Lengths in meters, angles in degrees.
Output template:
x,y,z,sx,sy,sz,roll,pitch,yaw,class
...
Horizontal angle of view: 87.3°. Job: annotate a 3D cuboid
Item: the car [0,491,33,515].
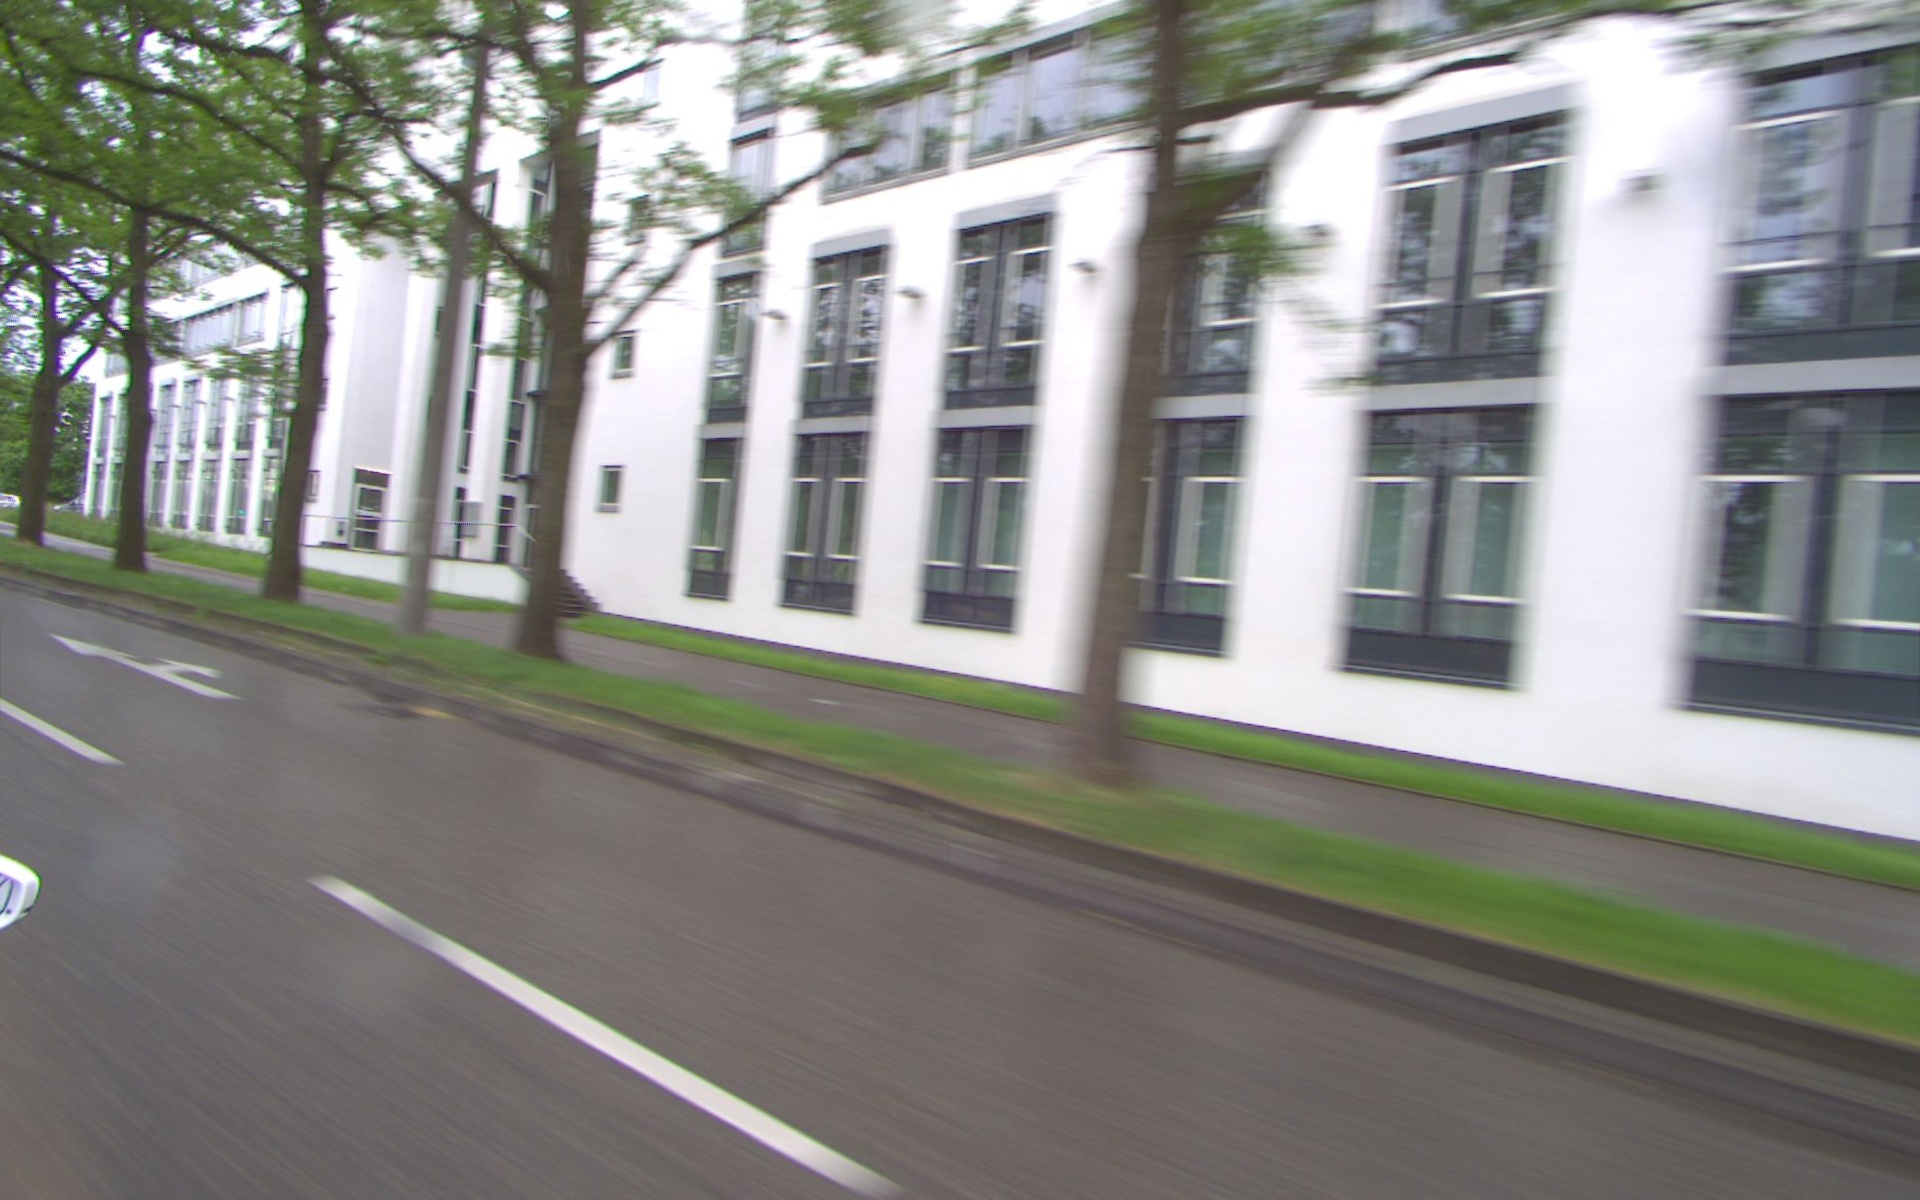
x,y,z,sx,sy,sz,roll,pitch,yaw,class
-70.554,-7.238,73.424,3.962,1.556,1.981,6,1,-35,car
